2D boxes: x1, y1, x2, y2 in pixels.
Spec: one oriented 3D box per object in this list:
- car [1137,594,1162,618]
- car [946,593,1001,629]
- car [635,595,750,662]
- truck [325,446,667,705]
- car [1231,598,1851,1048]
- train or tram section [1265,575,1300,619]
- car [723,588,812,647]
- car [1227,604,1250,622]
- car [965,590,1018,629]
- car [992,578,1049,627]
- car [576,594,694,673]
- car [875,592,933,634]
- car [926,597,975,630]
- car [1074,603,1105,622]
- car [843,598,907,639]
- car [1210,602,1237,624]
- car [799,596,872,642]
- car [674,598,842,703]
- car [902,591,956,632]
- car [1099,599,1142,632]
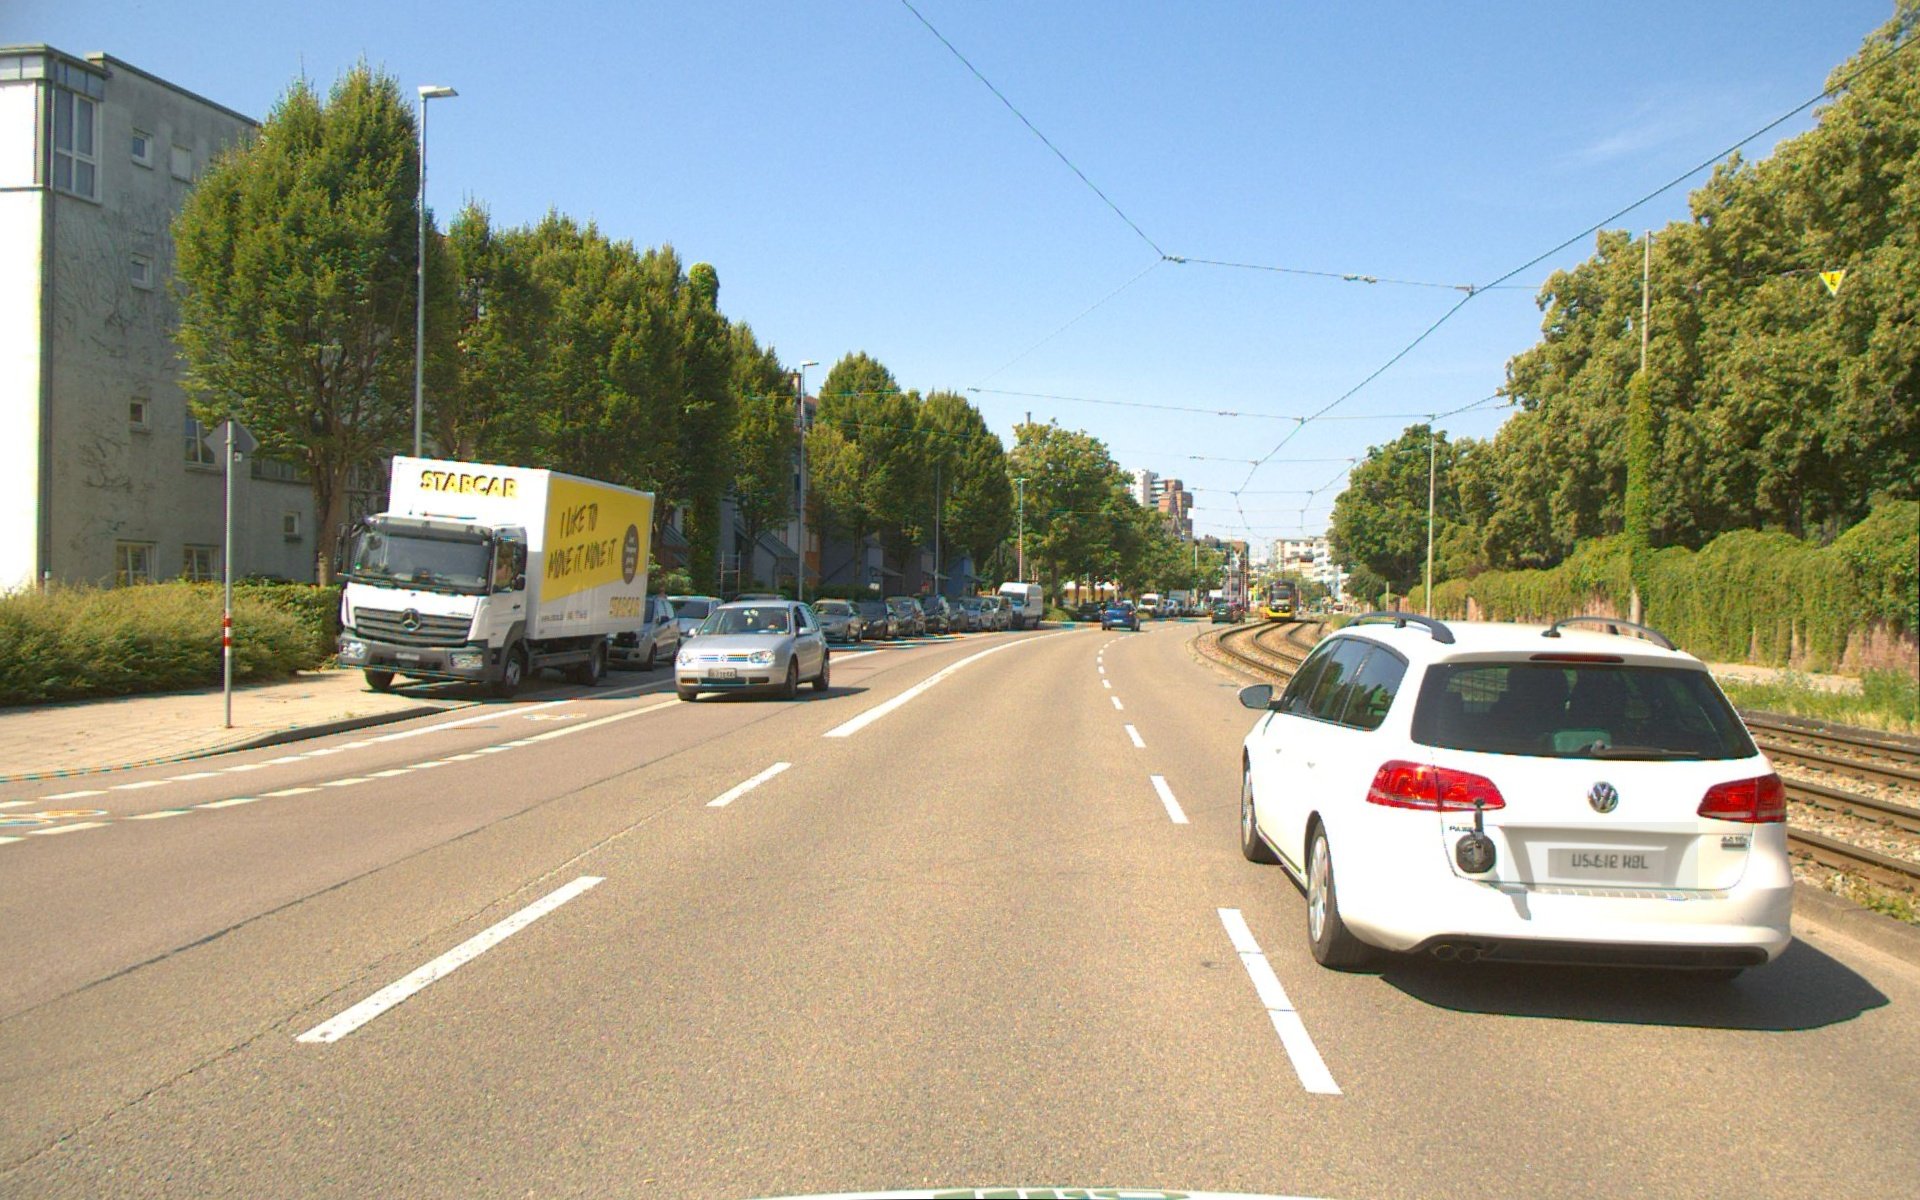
[{"bbox_3d":[20.269,0.627,176.563,1.840,2.458,5.119,1,0,16],"label":"car"},{"bbox_3d":[0.762,0.585,87.067,1.762,1.754,4.913,4,0,13],"label":"car"},{"bbox_3d":[-6.382,0.649,39.944,1.720,1.454,4.284,2,0,4],"label":"car"},{"bbox_3d":[-7.389,-0.366,27.861,2.611,3.591,8.595,2,0,4],"label":"truck"},{"bbox_3d":[2.411,0.778,8.070,1.656,1.476,4.461,2,1,3],"label":"car"},{"bbox_3d":[29.504,-0.229,150.763,2.458,3.812,13.321,1,0,14],"label":"train or tram section"},{"bbox_3d":[-5.534,0.479,48.064,1.694,1.579,4.321,2,0,5],"label":"car"},{"bbox_3d":[23.571,1.095,139.741,1.762,1.486,4.003,1,0,12],"label":"car"},{"bbox_3d":[1.786,0.519,92.633,1.879,1.982,5.358,4,0,12],"label":"car"},{"bbox_3d":[3.719,0.159,100.819,1.952,2.761,7.162,3,0,13],"label":"car"},{"bbox_3d":[-6.802,0.660,34.964,1.576,1.509,3.637,3,0,3],"label":"car"},{"bbox_3d":[-2.384,0.539,71.174,1.680,1.653,4.316,2,0,8],"label":"car"},{"bbox_3d":[-0.458,0.656,82.040,1.654,1.500,4.052,4,0,10],"label":"car"},{"bbox_3d":[10.229,0.954,130.450,1.663,1.442,4.003,1,0,16],"label":"car"},{"bbox_3d":[-3.325,0.697,65.258,1.686,1.500,4.718,2,0,7],"label":"car"},{"bbox_3d":[20.101,0.989,126.114,1.762,1.533,4.003,2,1,12],"label":"car"},{"bbox_3d":[-4.388,0.658,58.840,1.743,1.509,4.860,2,0,5],"label":"car"},{"bbox_3d":[-3.002,0.713,25.411,1.623,1.445,4.312,-1,0,6],"label":"car"},{"bbox_3d":[-1.397,0.503,76.634,1.732,1.753,4.874,3,0,7],"label":"car"},{"bbox_3d":[8.216,0.766,84.446,1.762,1.533,4.004,2,1,12],"label":"car"}]
